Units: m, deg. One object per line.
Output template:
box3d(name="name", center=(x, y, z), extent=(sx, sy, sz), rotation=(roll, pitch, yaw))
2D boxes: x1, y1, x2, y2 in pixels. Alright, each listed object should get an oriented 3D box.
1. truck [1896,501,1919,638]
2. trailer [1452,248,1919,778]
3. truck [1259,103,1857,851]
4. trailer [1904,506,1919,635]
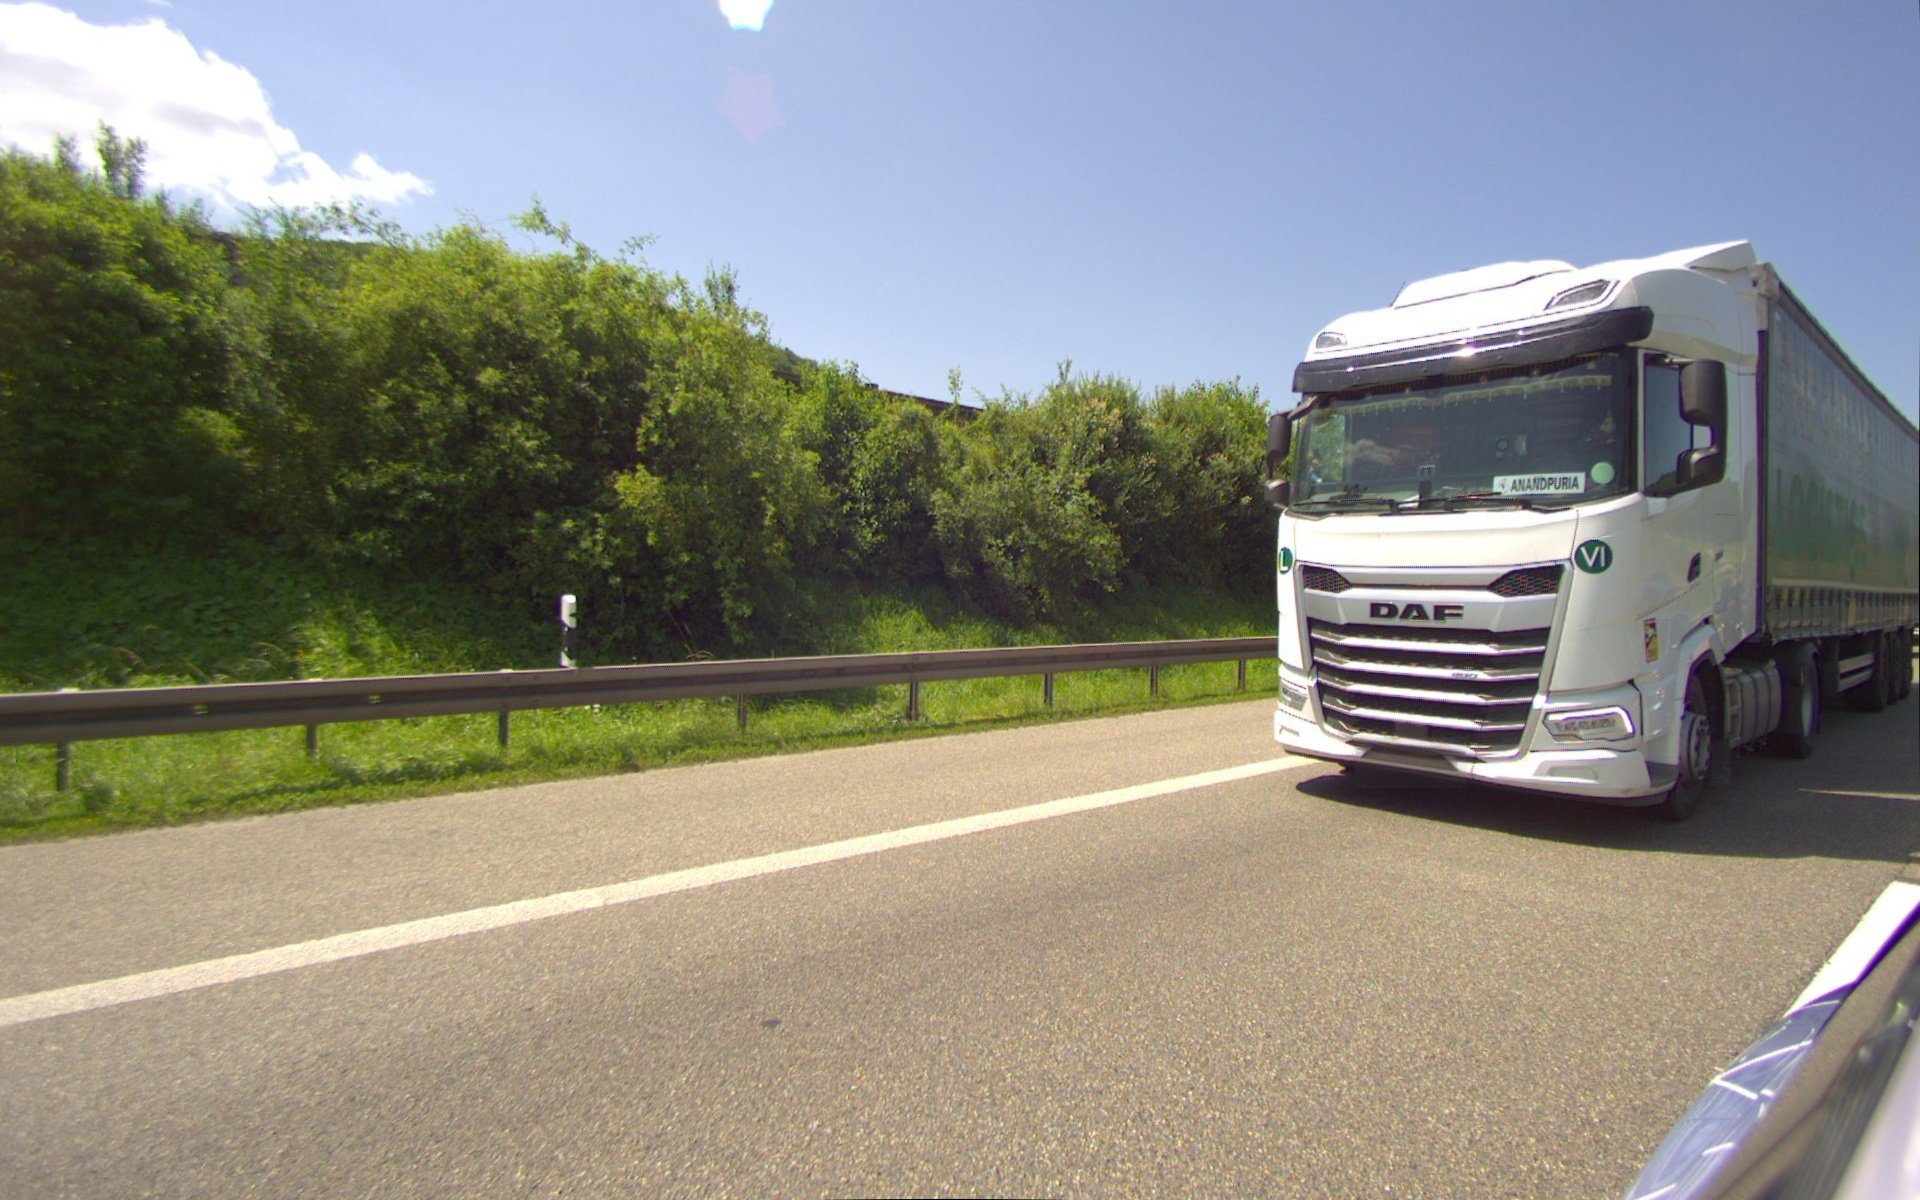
box3d(name="truck", center=(31.734, -0.953, 32.109), extent=(5.977, 4.140, 2.528), rotation=(-1, 0, -43))
box3d(name="trailer", center=(10.506, -0.722, 13.095), extent=(13.419, 4.027, 2.482), rotation=(0, 1, -42))
box3d(name="truck", center=(5.345, -0.702, 8.482), extent=(6.270, 4.027, 2.482), rotation=(0, 1, -42))
box3d(name="trailer", center=(36.315, -1.033, 36.314), extent=(13.398, 4.160, 2.540), rotation=(-1, 1, -43))
